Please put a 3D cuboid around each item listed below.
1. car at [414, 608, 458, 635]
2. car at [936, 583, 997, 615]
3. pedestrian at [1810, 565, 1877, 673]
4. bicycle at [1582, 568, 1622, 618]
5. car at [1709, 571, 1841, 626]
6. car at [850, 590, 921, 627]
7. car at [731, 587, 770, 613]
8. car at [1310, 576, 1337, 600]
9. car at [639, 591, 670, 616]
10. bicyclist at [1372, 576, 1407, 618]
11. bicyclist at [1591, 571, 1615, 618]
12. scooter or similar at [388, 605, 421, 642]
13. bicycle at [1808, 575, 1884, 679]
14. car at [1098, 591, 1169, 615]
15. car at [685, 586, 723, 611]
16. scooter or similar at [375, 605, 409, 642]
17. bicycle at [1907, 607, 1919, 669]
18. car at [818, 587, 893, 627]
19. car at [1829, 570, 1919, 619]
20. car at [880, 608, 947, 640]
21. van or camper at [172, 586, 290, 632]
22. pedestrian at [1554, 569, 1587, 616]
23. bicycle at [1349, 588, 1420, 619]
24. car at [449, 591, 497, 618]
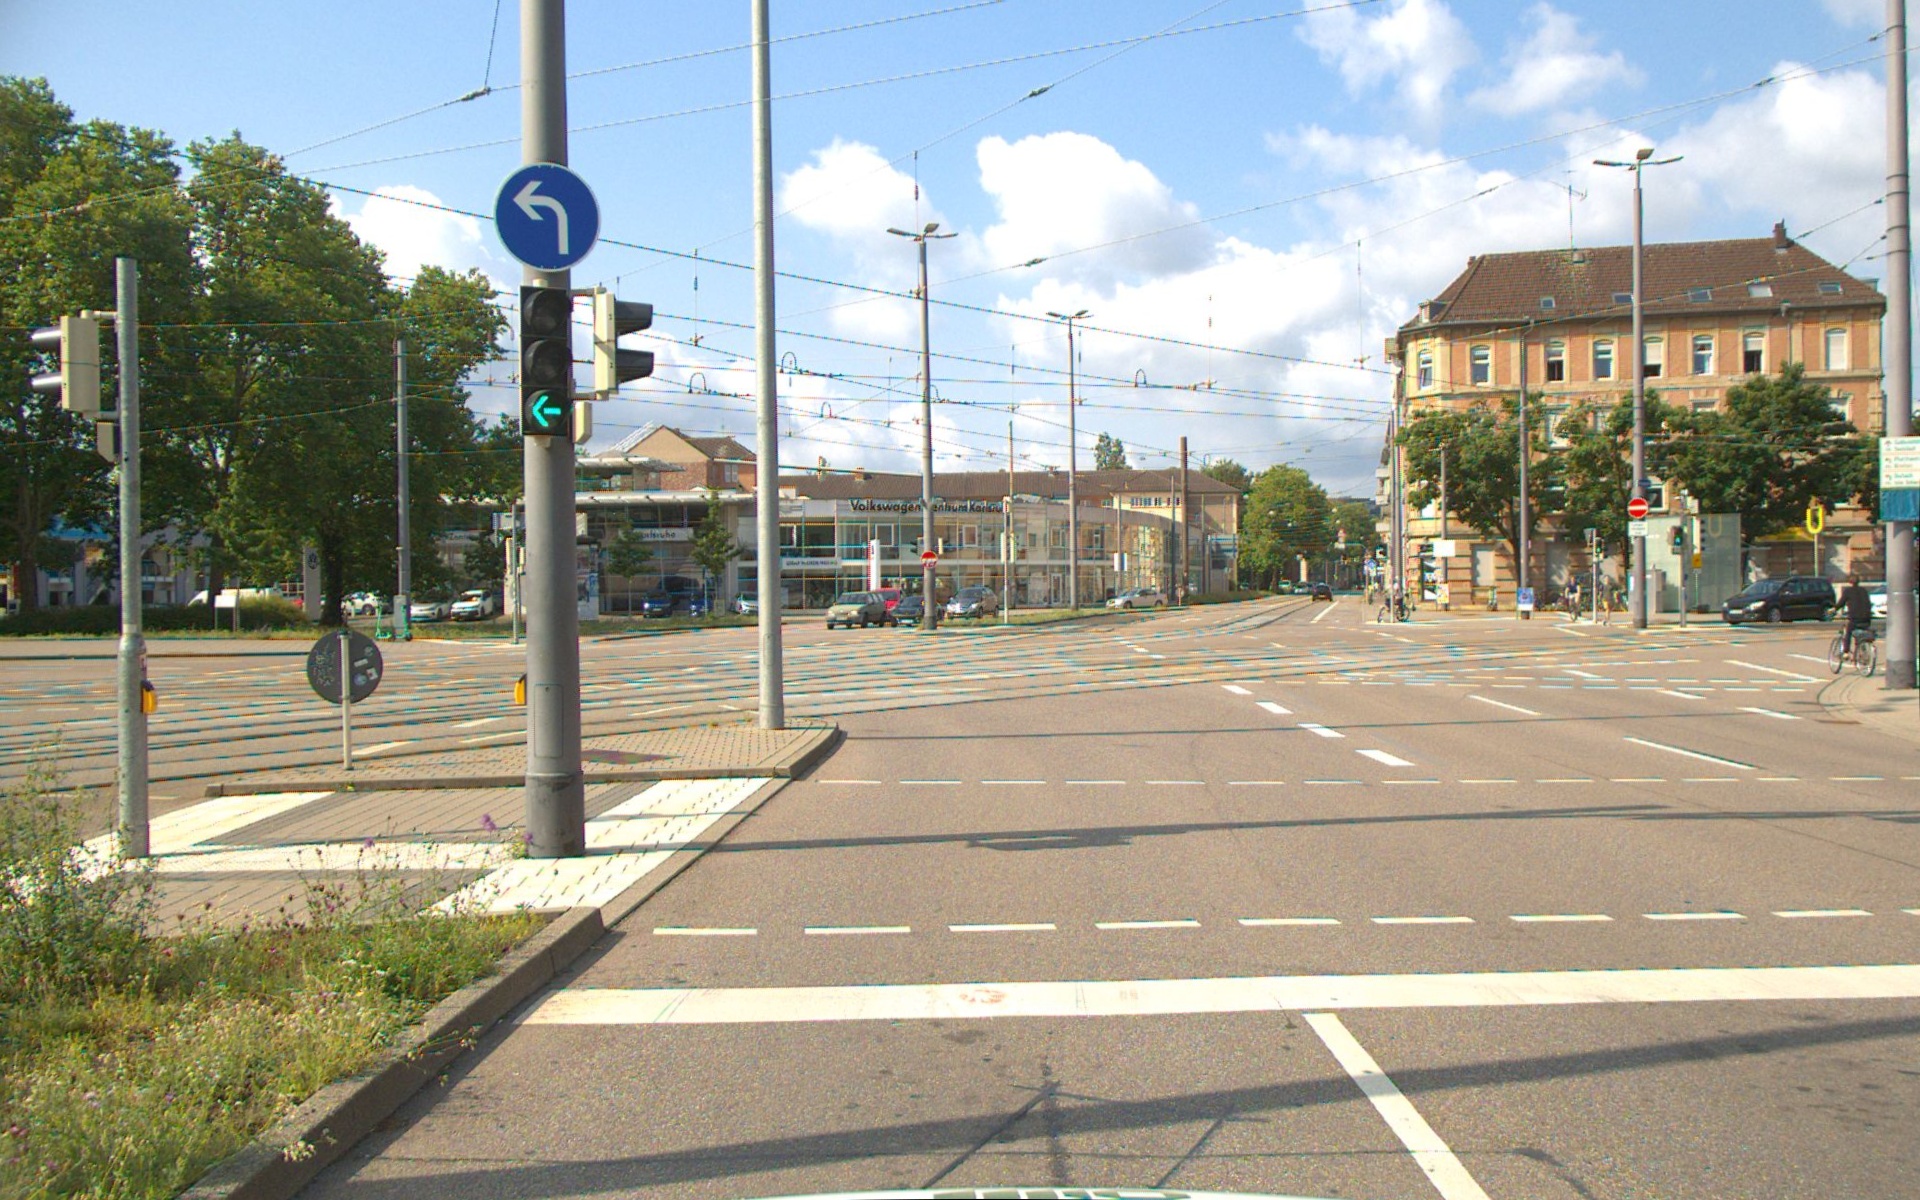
[{"bbox_3d":[-32.599,1.351,103.021,1.957,1.601,3.992,1,0,-9],"label":"car"},{"bbox_3d":[0.353,-0.080,83.669,1.952,1.579,4.002,-1,0,18],"label":"car"},{"bbox_3d":[15.757,0.327,29.523,0.972,1.873,0.995,1,-1,25],"label":"pedestrian"},{"bbox_3d":[23.449,-0.265,60.410,0.715,1.808,1.636,-1,0,-4],"label":"bicycle"},{"bbox_3d":[28.099,-0.035,57.011,4.277,1.770,1.982,1,0,-28],"label":"car"},{"bbox_3d":[-3.223,0.379,72.099,1.951,1.545,4.003,1,0,15],"label":"car"},{"bbox_3d":[-13.167,0.005,104.016,1.880,1.579,4.000,-1,0,1],"label":"car"},{"bbox_3d":[31.564,-1.029,143.467,1.951,2.049,4.002,-1,0,17],"label":"car"},{"bbox_3d":[-18.916,0.213,102.460,1.885,1.470,3.990,-1,0,-10],"label":"car"},{"bbox_3d":[17.348,-0.125,66.794,1.171,1.687,0.784,-1,0,-7],"label":"bicyclist"},{"bbox_3d":[23.447,-0.212,60.301,0.561,1.700,0.655,-1,0,-4],"label":"bicyclist"},{"bbox_3d":[-18.331,0.790,54.626,0.374,1.177,0.927,5,1,33],"label":"scooter or similar"},{"bbox_3d":[15.712,0.473,29.386,0.985,1.755,2.467,1,0,24],"label":"bicycle"},{"bbox_3d":[11.377,0.200,108.394,4.412,1.490,1.767,1,0,-26],"label":"car"},{"bbox_3d":[-15.745,-0.101,101.817,1.881,1.470,3.998,-1,0,-3],"label":"car"},{"bbox_3d":[-18.845,0.782,54.897,0.375,1.177,0.923,5,1,45],"label":"scooter or similar"},{"bbox_3d":[16.963,0.626,27.173,0.973,1.045,3.108,2,-2,-1],"label":"bicycle"},{"bbox_3d":[-4.109,0.285,65.868,1.782,1.539,4.003,1,0,15],"label":"car"},{"bbox_3d":[33.771,-0.223,59.757,4.616,1.623,1.982,-2,1,-28],"label":"car"},{"bbox_3d":[-1.809,0.938,65.514,1.587,1.182,4.003,1,0,15],"label":"car"},{"bbox_3d":[-42.086,0.535,95.579,5.754,2.512,2.394,1,0,3],"label":"van or camper"},{"bbox_3d":[24.079,-0.282,65.225,0.850,1.841,0.884,1,-1,-13],"label":"pedestrian"},{"bbox_3d":[17.140,0.140,66.788,2.621,1.191,0.899,-1,0,-7],"label":"bicycle"},{"bbox_3d":[-30.249,0.252,102.869,2.027,1.632,3.996,-1,0,-5],"label":"car"}]
